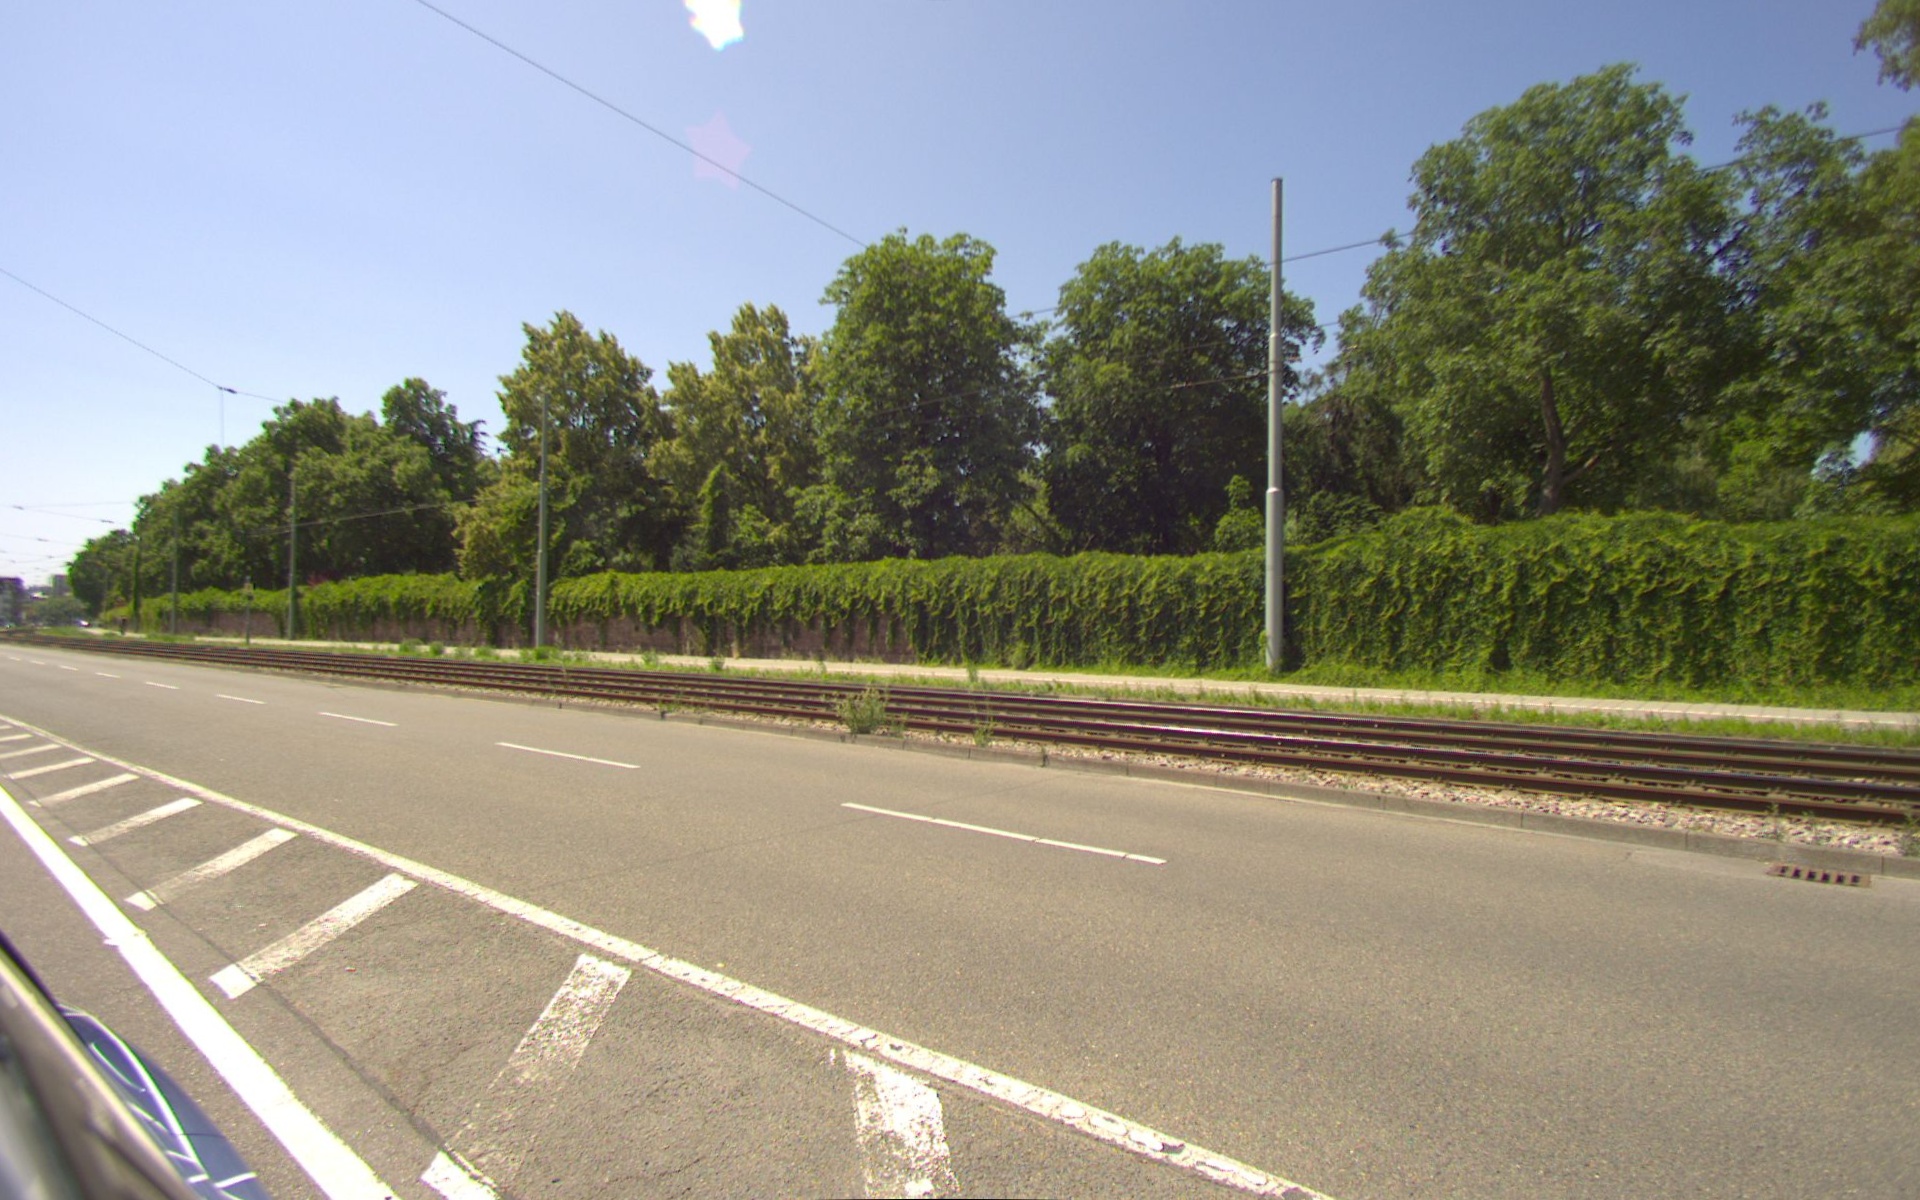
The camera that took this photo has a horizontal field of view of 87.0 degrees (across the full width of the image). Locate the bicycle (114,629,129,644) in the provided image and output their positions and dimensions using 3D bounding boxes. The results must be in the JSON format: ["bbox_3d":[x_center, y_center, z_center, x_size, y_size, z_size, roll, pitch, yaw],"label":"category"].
[{"bbox_3d":[-69.421,3.019,83.777,0.818,1.165,2.688,1,-2,-43],"label":"bicycle"}]

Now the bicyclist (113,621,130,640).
[{"bbox_3d":[-69.392,2.512,83.731,0.983,1.497,1.001,1,-2,-43],"label":"bicyclist"}]
